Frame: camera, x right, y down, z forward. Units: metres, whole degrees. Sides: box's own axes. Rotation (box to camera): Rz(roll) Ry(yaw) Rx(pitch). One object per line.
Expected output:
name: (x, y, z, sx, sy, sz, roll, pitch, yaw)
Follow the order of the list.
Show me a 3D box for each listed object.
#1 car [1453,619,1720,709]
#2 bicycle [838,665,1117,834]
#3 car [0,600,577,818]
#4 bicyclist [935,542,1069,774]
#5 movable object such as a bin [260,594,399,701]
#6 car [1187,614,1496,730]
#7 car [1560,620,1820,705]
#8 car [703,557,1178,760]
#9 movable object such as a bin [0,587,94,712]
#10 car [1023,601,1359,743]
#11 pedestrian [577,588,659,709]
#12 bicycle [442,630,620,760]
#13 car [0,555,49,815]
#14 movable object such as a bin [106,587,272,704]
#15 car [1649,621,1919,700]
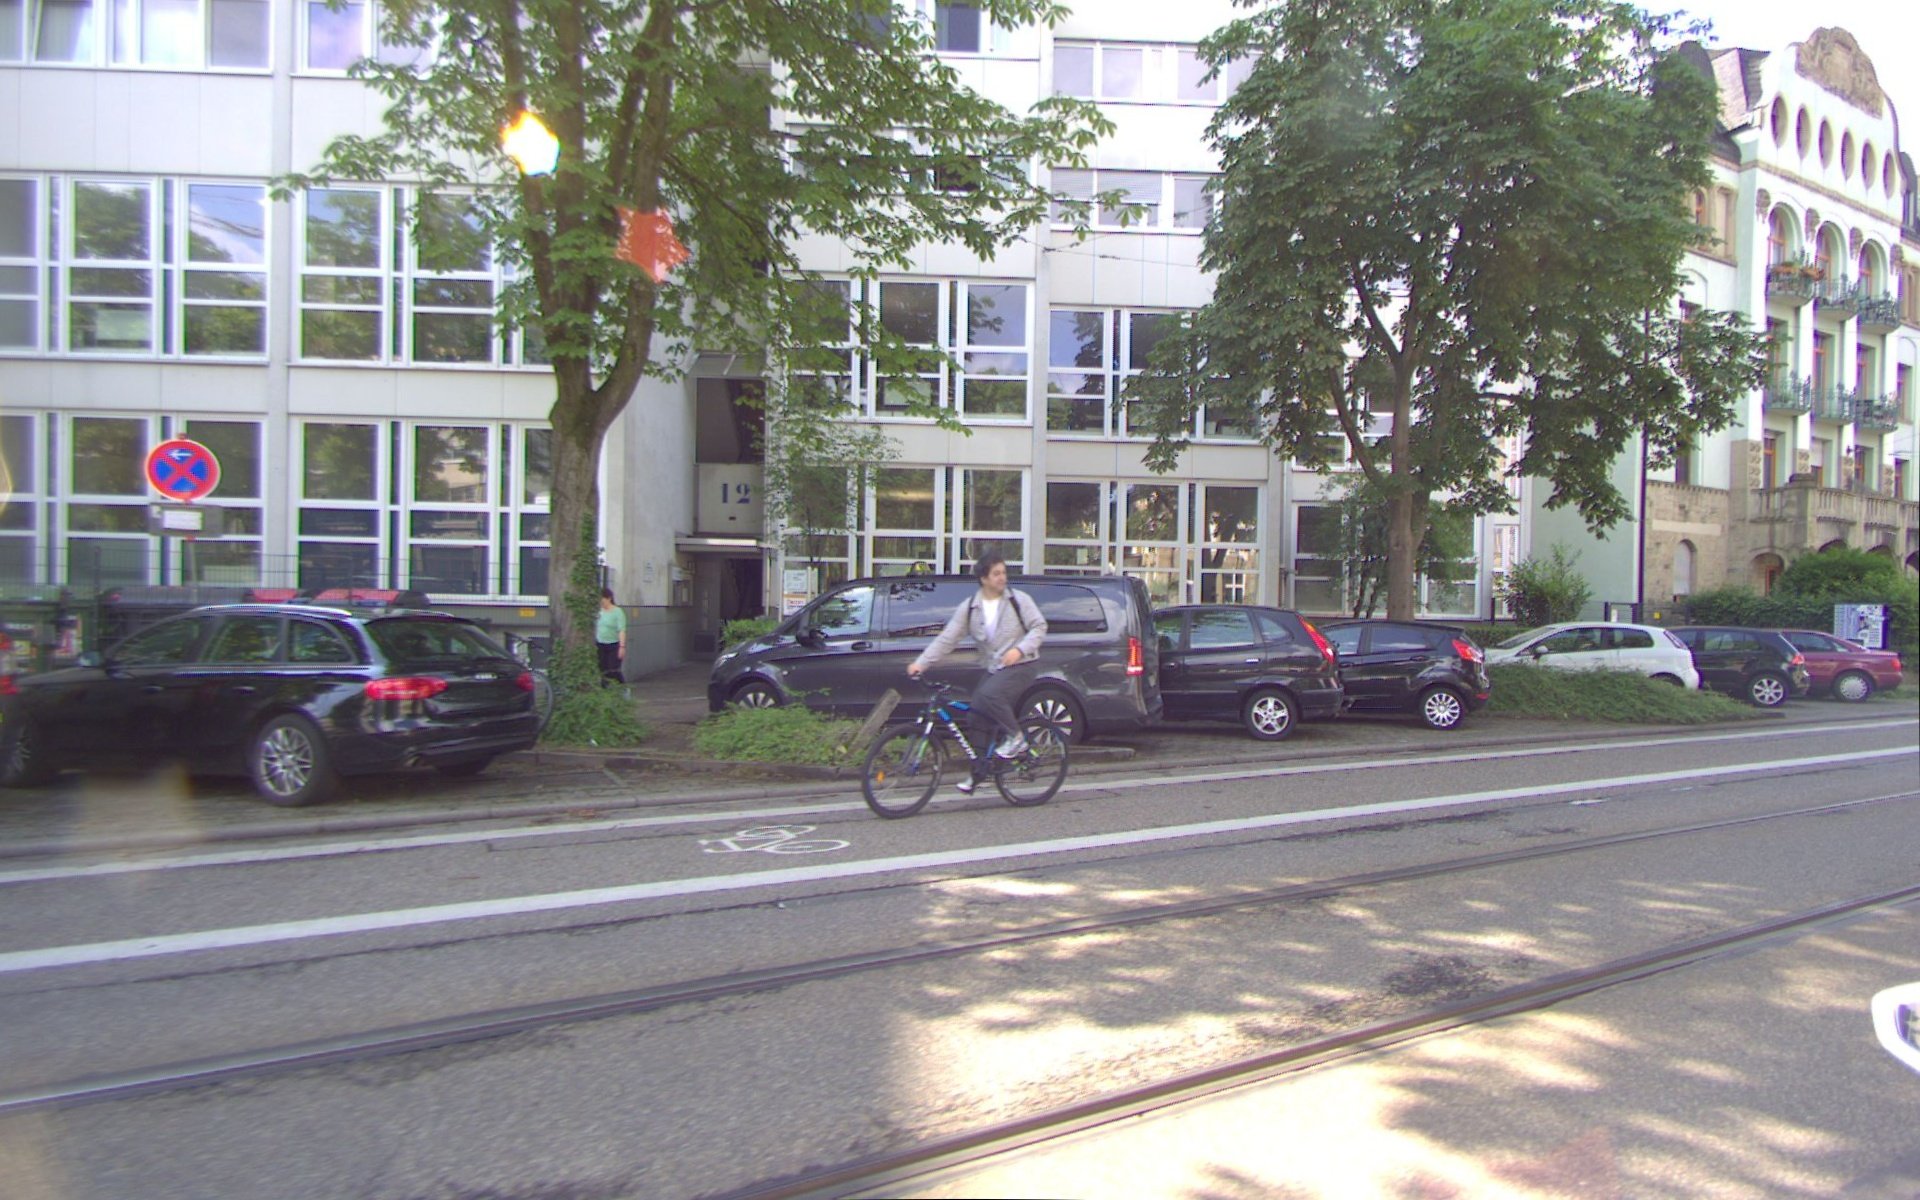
car: (11.060, 1.109, 18.035, 3.731, 1.504, 1.698, -1, -2, 17)
bicycle: (0.157, 1.025, 7.320, 1.977, 1.054, 0.652, 2, -1, -30)
car: (-5.305, 0.766, 8.036, 3.920, 1.436, 1.761, -1, -2, 16)
bicyclist: (0.306, 0.411, 7.383, 0.733, 1.597, 0.638, 2, -1, -31)
movable object such as a bin: (-8.134, 0.619, 13.052, 1.424, 1.300, 1.163, 2, -3, -29)
car: (5.380, 0.984, 14.489, 3.921, 1.504, 1.741, -1, -2, 20)
car: (13.915, 1.166, 19.415, 3.734, 1.504, 1.697, -1, -2, 23)
car: (-0.168, 0.631, 11.444, 5.065, 1.980, 1.918, -1, -2, 16)
movable object such as a bin: (-11.209, 0.581, 11.731, 1.425, 1.398, 1.187, 2, -3, -31)
car: (2.921, 0.869, 12.822, 3.920, 1.614, 1.742, -1, -2, 18)
pedestrian: (-4.667, 0.647, 13.756, 0.632, 1.597, 0.882, 1, -1, 18)
bicycle: (-4.247, 0.884, 9.884, 1.966, 1.133, 0.582, 1, -1, 32)
car: (-8.248, 0.557, 6.613, 3.642, 1.715, 1.761, -1, -2, 19)
movable object such as a bin: (-9.410, 0.563, 12.357, 1.424, 1.344, 1.159, 2, -3, -29)
car: (16.783, 1.213, 20.695, 3.892, 1.504, 1.847, -1, -2, 19)
